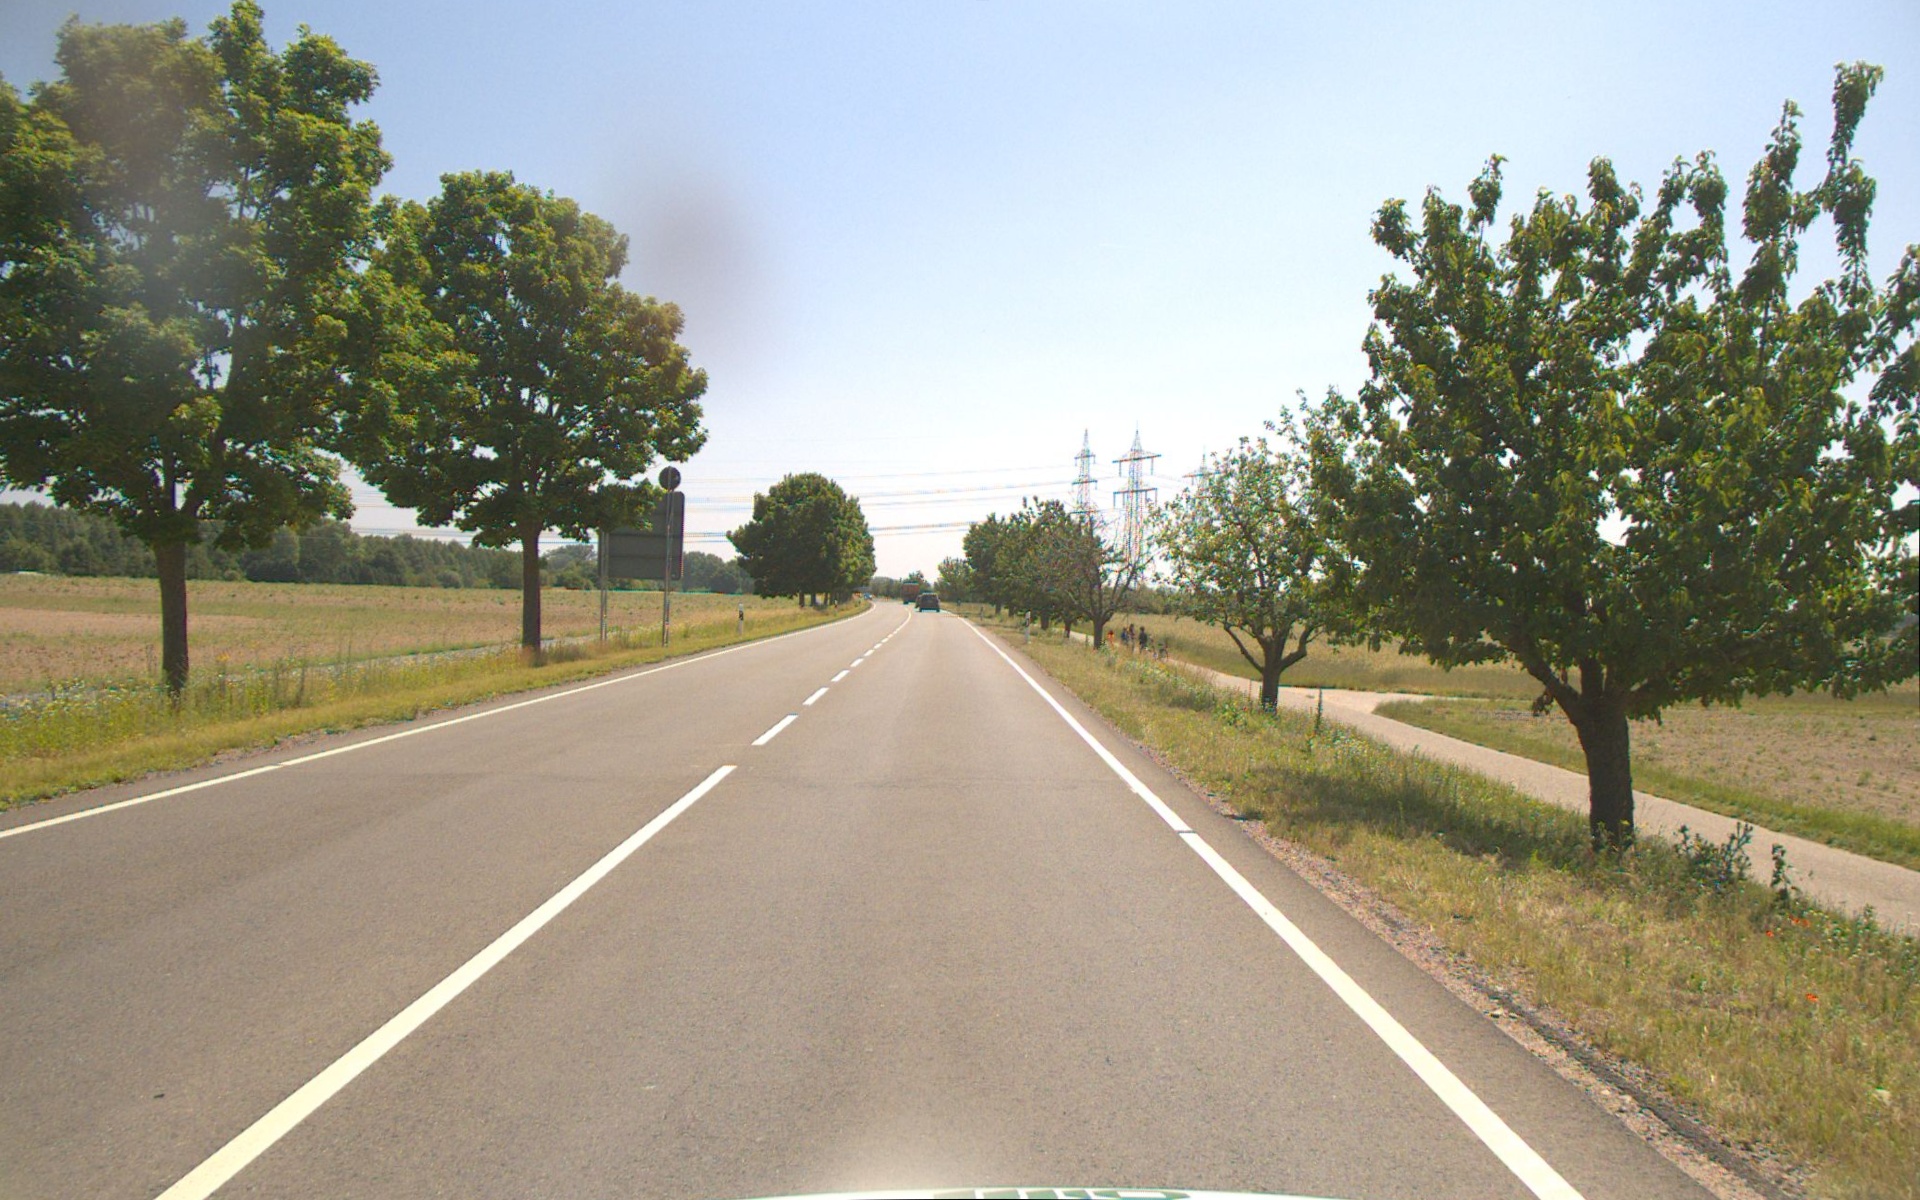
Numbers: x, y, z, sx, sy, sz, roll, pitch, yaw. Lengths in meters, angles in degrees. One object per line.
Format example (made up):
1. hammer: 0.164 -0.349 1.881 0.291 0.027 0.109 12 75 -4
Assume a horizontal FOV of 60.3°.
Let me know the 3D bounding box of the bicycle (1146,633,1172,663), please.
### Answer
1. bicycle: 8.456 2.047 70.238 0.467 1.186 1.675 2 0 -15

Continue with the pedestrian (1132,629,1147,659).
1. pedestrian: 7.942 1.954 73.102 0.479 1.318 0.439 1 0 44

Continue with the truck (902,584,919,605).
1. truck: -7.752 -0.880 258.050 2.324 3.194 8.740 2 0 -4

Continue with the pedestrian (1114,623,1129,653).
1. pedestrian: 7.203 1.710 73.670 0.477 1.318 0.441 1 0 32

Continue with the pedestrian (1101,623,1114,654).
1. pedestrian: 6.511 1.704 73.030 0.432 1.318 0.486 1 0 -8

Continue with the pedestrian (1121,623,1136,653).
1. pedestrian: 7.548 1.706 74.102 0.478 1.337 0.439 1 0 41

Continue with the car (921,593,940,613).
1. car: -2.698 0.278 149.845 1.680 1.723 3.987 1 0 -2
